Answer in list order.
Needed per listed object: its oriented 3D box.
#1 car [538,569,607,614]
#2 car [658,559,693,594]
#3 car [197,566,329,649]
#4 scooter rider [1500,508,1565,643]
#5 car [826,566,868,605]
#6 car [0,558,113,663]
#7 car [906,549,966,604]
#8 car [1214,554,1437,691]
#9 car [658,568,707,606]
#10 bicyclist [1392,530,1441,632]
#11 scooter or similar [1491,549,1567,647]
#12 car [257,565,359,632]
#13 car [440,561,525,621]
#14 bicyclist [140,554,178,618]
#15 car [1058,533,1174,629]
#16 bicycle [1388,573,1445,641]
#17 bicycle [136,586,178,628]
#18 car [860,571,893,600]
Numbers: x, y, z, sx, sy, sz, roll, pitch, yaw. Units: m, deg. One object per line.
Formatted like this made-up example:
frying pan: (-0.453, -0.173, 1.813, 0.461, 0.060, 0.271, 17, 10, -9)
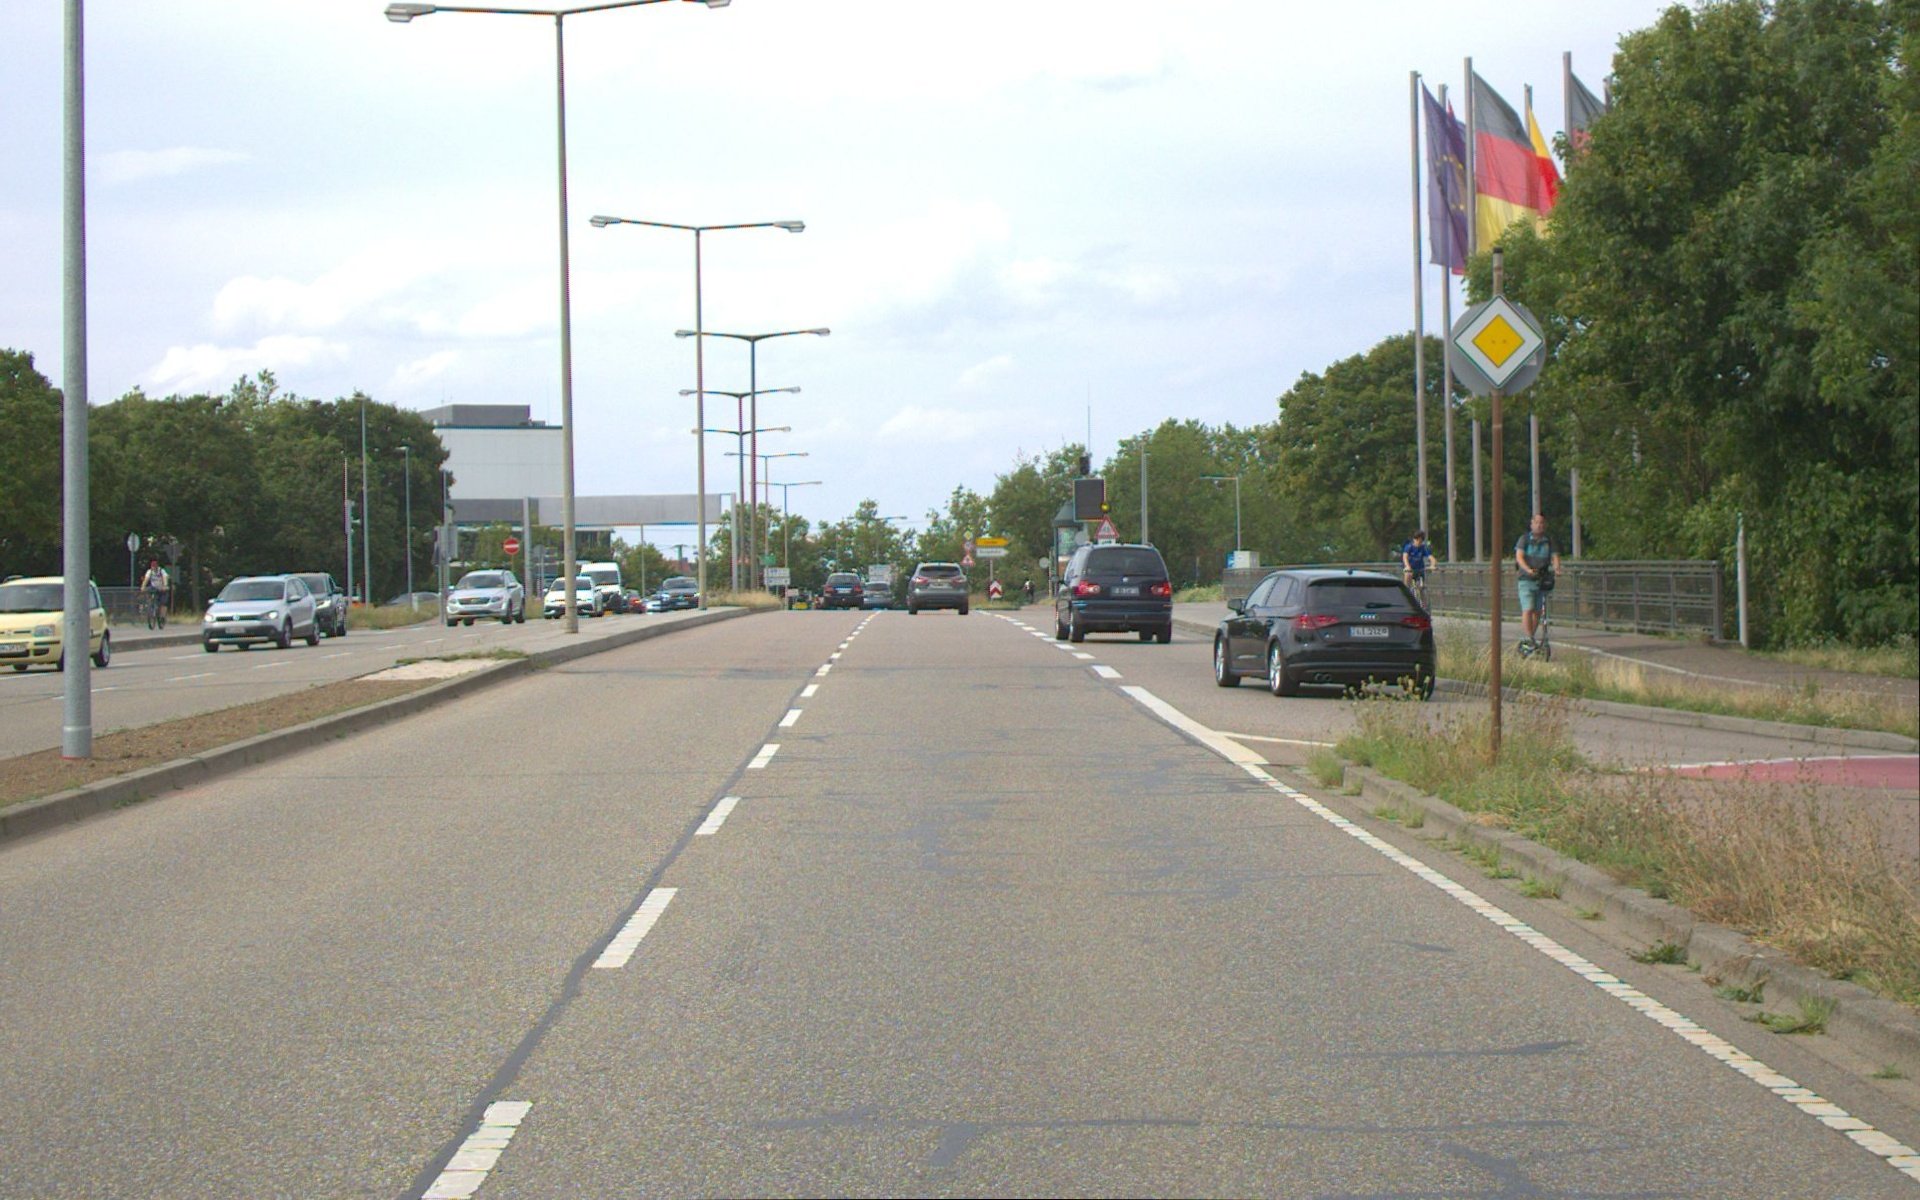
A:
car: (-13.580, -0.320, 120.792, 1.738, 1.475, 4.471, -2, 0, 2)
car: (-15.754, -1.296, 190.420, 1.540, 1.865, 3.570, -2, 1, 0)
car: (-13.989, 0.121, 69.160, 1.649, 1.510, 4.016, -2, 1, 2)
scooter rider: (7.242, -0.313, 43.511, 0.587, 1.685, 0.744, 1, 0, -8)
car: (-4.942, -0.622, 151.028, 1.730, 1.647, 4.115, 0, 0, 0)
car: (-14.968, 0.154, 55.811, 1.548, 1.572, 3.691, -2, 1, -1)
car: (-0.751, -0.699, 105.687, 1.730, 1.647, 4.115, 0, 0, -2)
car: (4.050, 0.215, 38.722, 1.730, 1.390, 4.116, -1, 1, -5)
car: (-11.589, -0.526, 143.821, 1.738, 1.475, 4.776, -2, 0, -1)
bicyclist: (7.495, -0.323, 56.486, 0.664, 1.653, 0.805, 1, 1, -2)
scooter or similar: (7.215, -0.025, 43.651, 0.588, 1.220, 1.203, 1, 0, -9)
car: (-15.751, -0.048, 83.214, 1.739, 1.510, 4.316, -2, 0, -2)
car: (-14.398, -0.278, 103.924, 1.863, 1.719, 4.770, -2, 0, 0)
bicyclist: (-20.584, -0.357, 88.334, 0.794, 1.621, 0.976, 1, 0, -4)
car: (2.728, -0.316, 60.886, 1.730, 1.647, 4.115, 0, 0, -2)
bicycle: (7.498, 0.103, 56.556, 0.577, 1.018, 1.976, -3, 2, -1)
bicycle: (-20.593, 0.175, 88.217, 0.706, 1.046, 2.060, 0, 0, -4)
car: (-4.570, -0.768, 188.062, 1.730, 1.521, 4.115, 0, 0, -2)
